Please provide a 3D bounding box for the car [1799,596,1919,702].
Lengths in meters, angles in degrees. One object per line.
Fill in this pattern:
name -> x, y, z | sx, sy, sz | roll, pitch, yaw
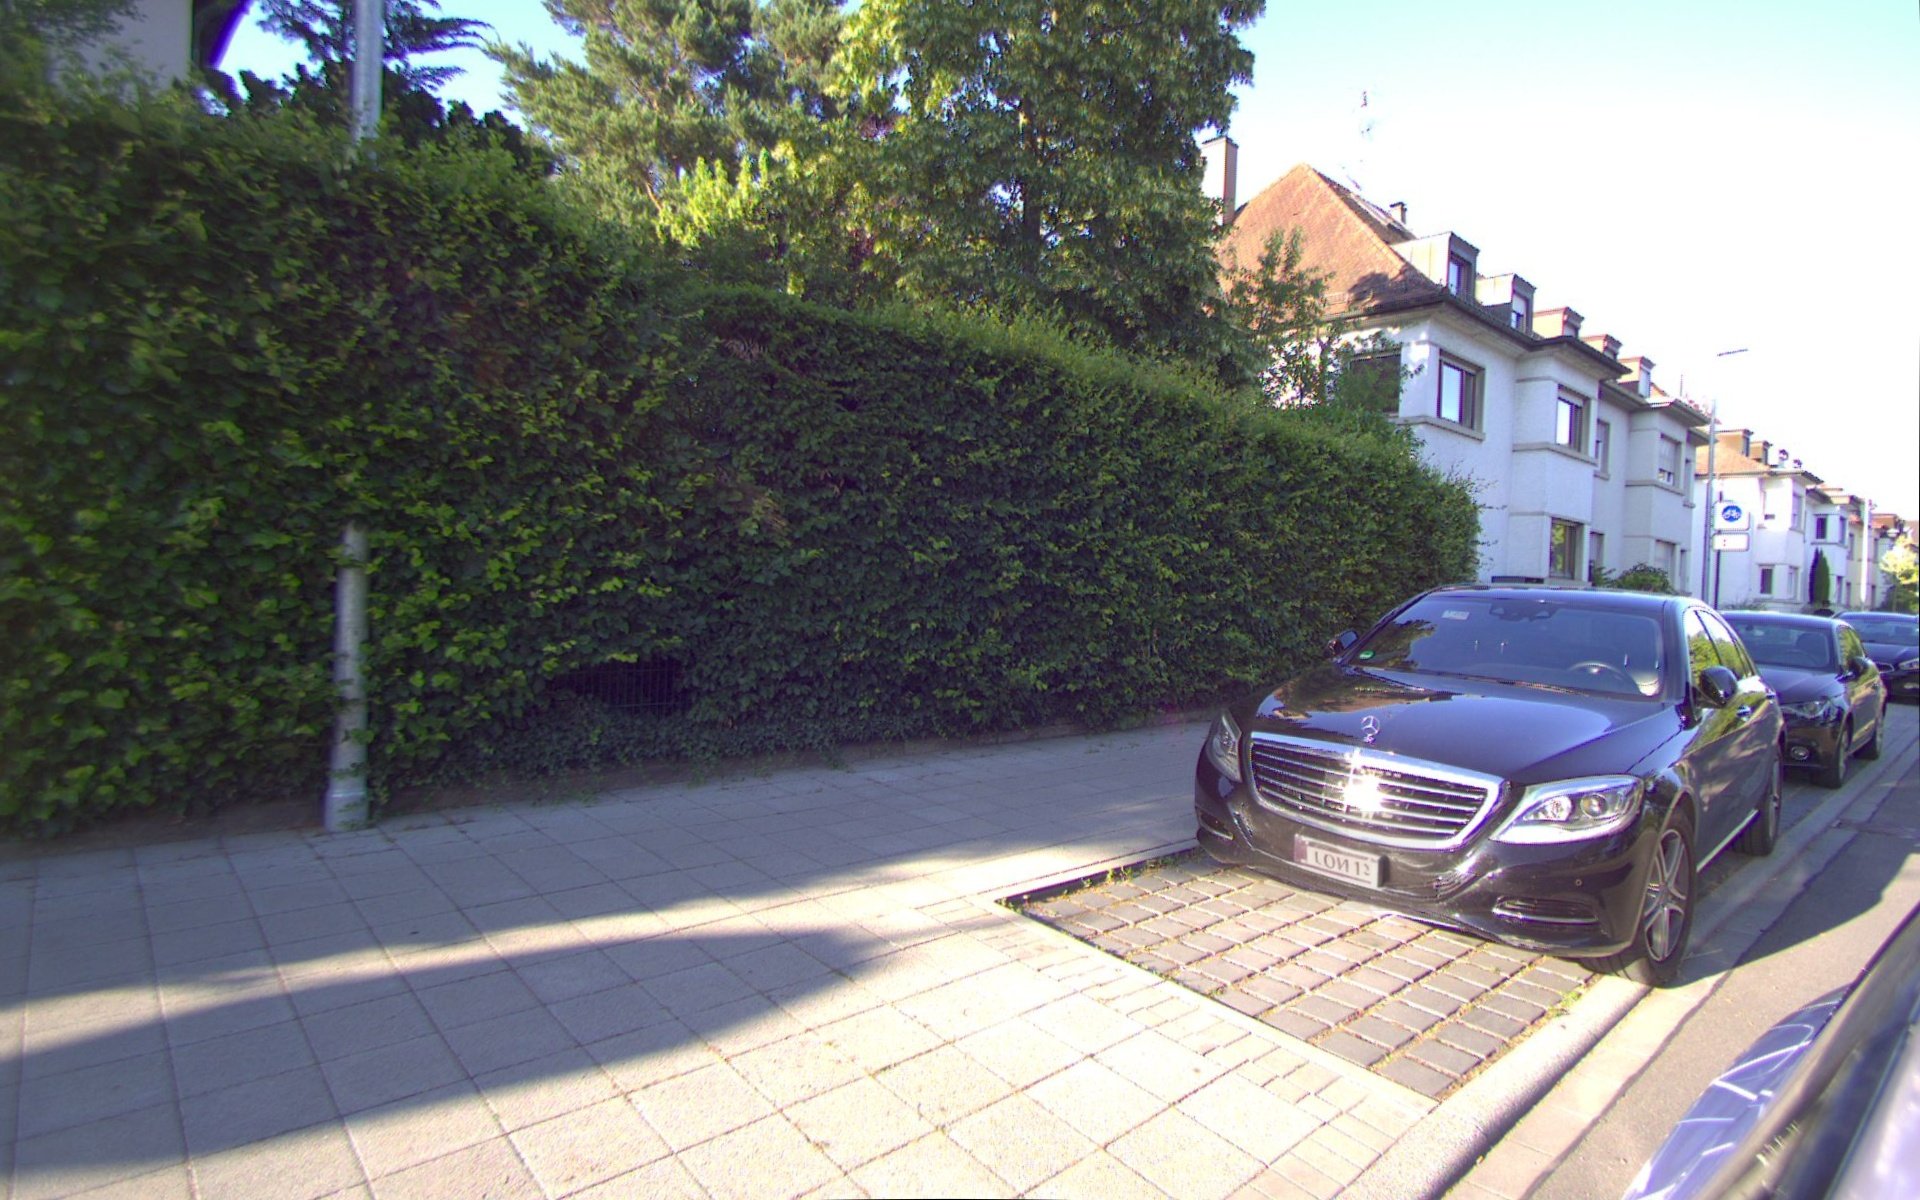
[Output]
car -> 15.828, 0.782, 17.299 | 4.007, 1.616, 1.793 | 1, -1, -43

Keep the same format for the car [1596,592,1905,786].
car -> 7.772, 0.708, 9.816 | 3.932, 1.496, 1.781 | 1, -1, -43

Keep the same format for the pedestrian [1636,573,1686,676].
pedestrian -> 13.098, 0.446, 18.911 | 0.809, 1.869, 0.587 | 0, 0, -41

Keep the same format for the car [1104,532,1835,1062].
car -> 3.068, 0.552, 5.396 | 4.835, 1.516, 2.006 | 1, 3, -45

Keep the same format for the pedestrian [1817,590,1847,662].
pedestrian -> 22.425, 0.655, 26.020 | 0.579, 1.821, 0.530 | 1, -1, -44

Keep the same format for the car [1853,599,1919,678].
car -> 19.945, 0.785, 21.003 | 3.410, 1.554, 1.679 | 1, -1, -41
